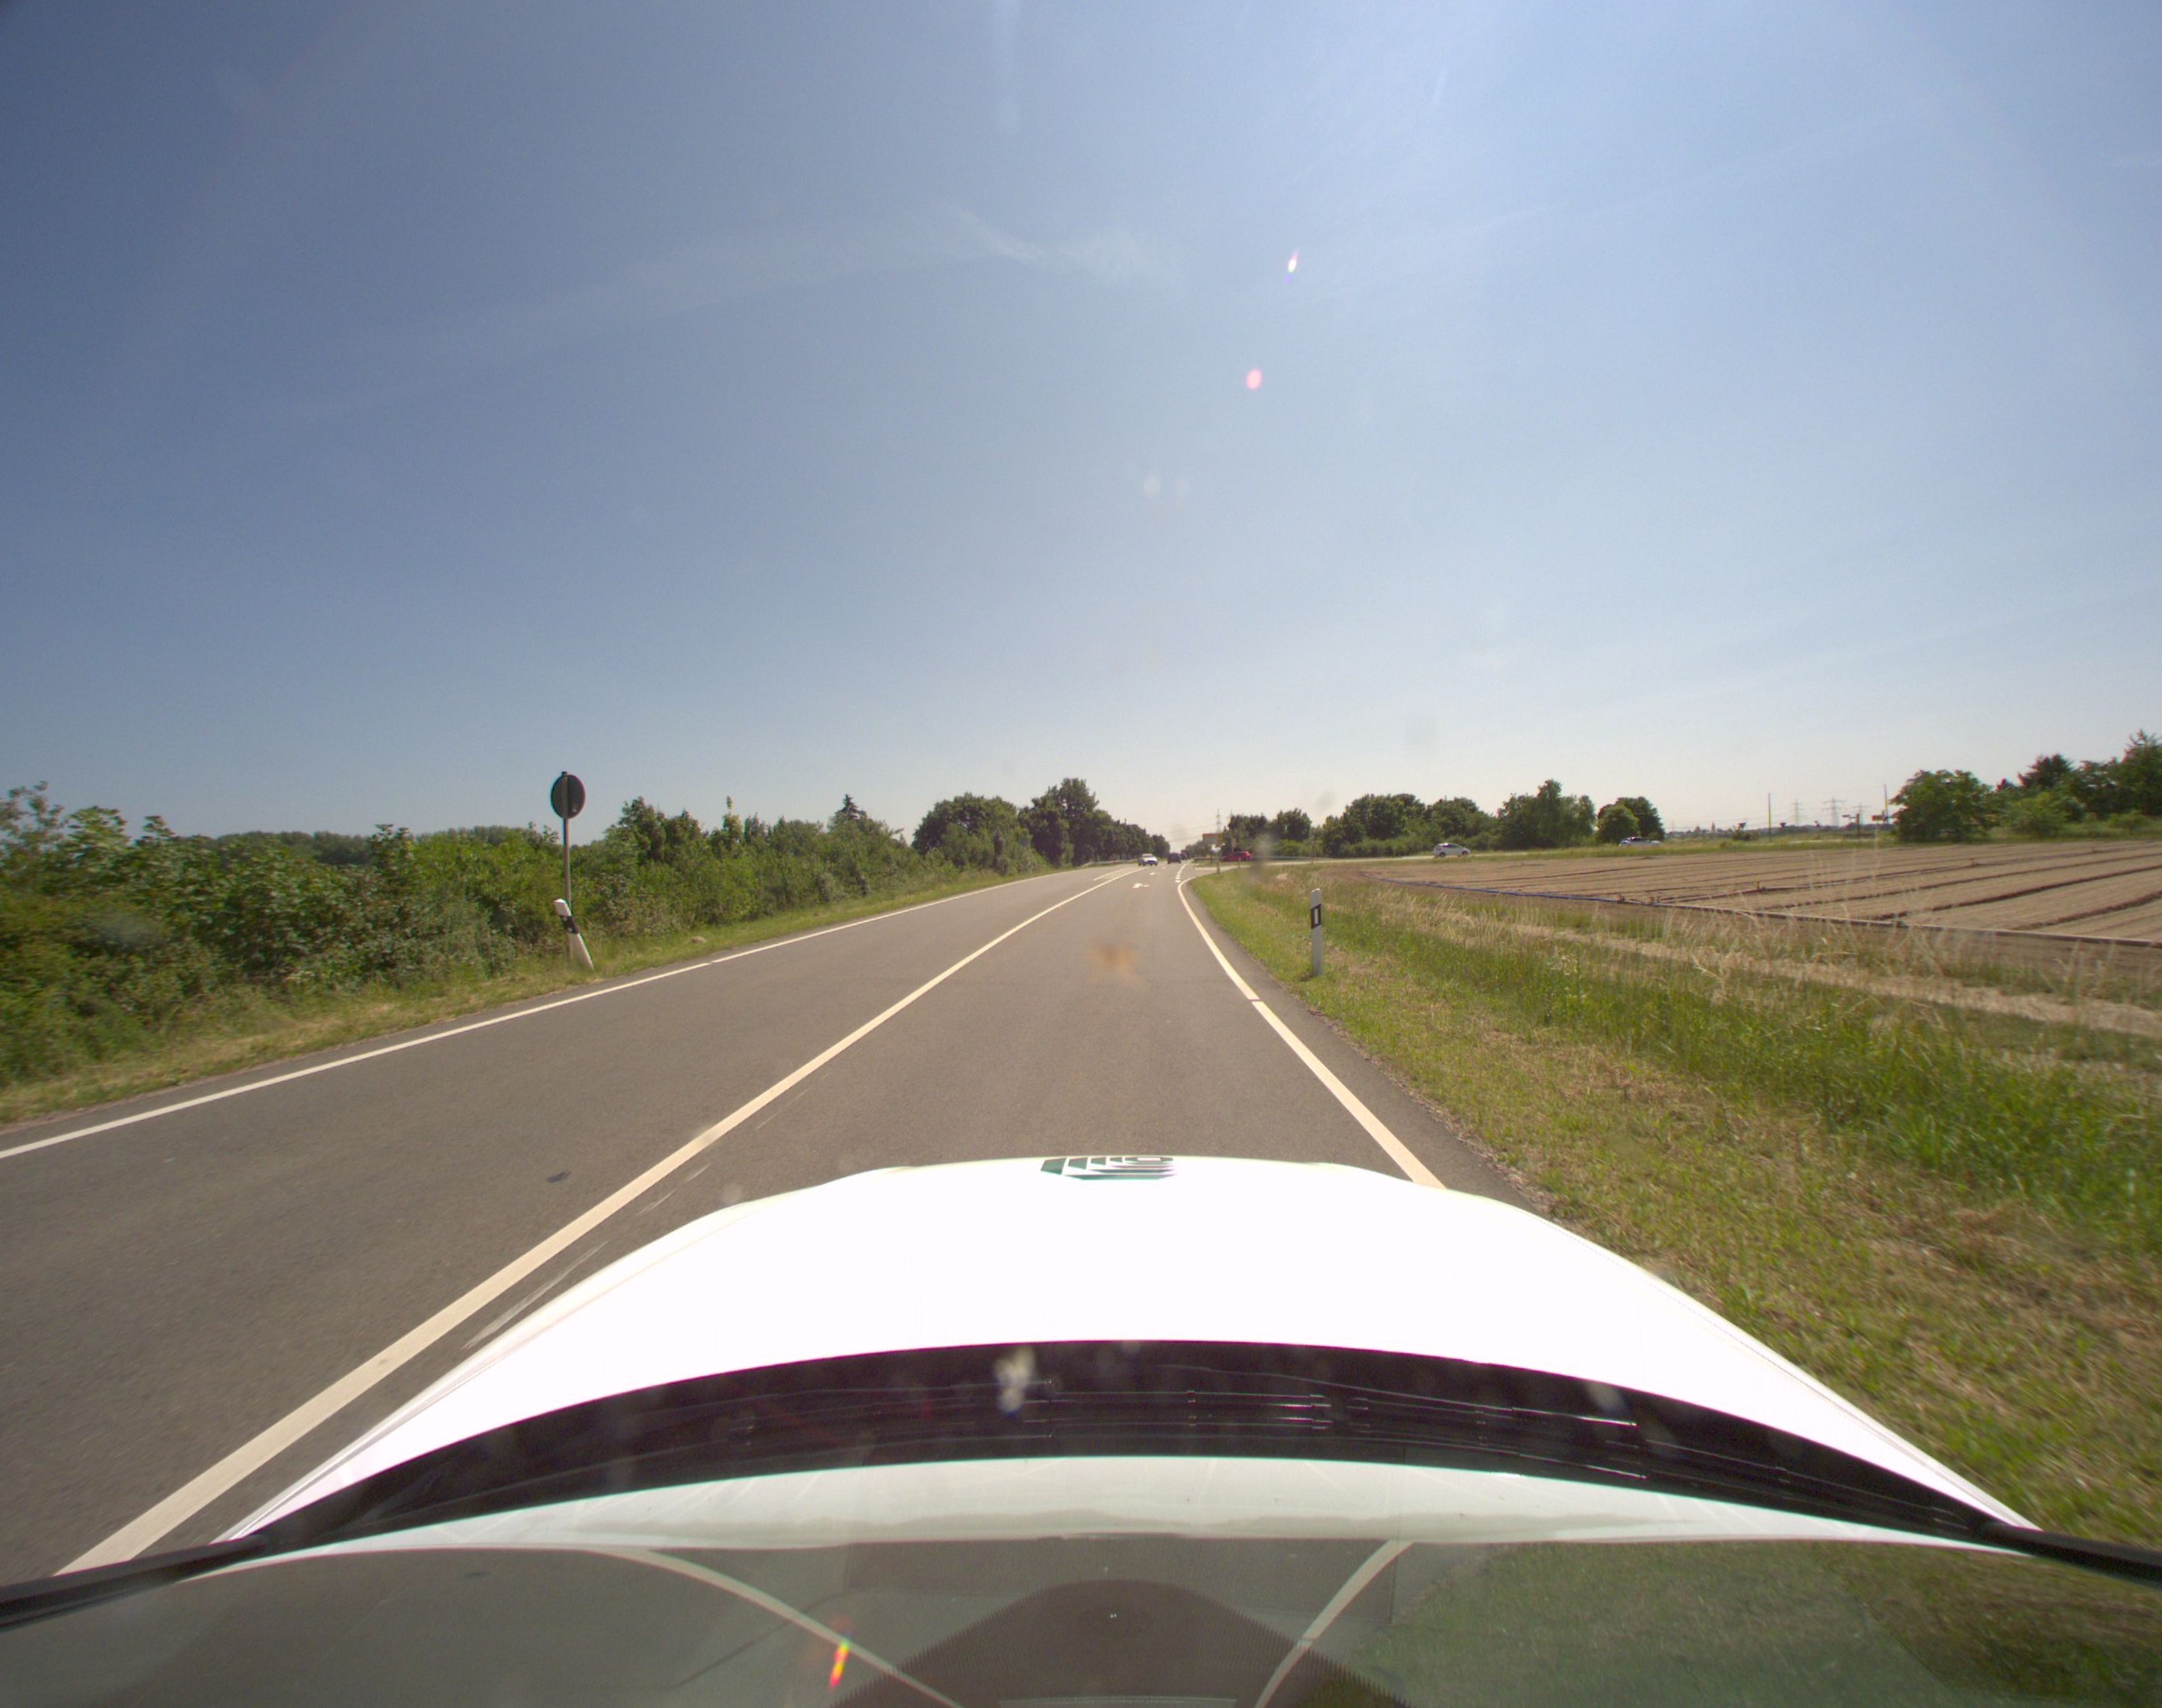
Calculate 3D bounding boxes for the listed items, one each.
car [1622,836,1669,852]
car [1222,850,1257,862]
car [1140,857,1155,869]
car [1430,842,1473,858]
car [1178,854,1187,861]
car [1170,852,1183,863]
[{"bbox_3d":[62.514,-1.116,90.301,3.953,1.623,1.653,-2,-1,20],"label":"car"},{"bbox_3d":[20.767,0.309,106.592,4.117,1.418,1.789,-2,-1,21],"label":"car"},{"bbox_3d":[8.512,1.157,104.184,1.827,1.418,4.721,0,0,4],"label":"car"},{"bbox_3d":[43.227,-0.430,94.999,4.109,1.623,2.074,-2,0,5],"label":"car"},{"bbox_3d":[19.398,0.725,155.142,1.635,1.341,4.047,0,0,6],"label":"car"},{"bbox_3d":[13.970,0.501,119.225,1.875,1.518,4.047,0,0,6],"label":"car"}]
